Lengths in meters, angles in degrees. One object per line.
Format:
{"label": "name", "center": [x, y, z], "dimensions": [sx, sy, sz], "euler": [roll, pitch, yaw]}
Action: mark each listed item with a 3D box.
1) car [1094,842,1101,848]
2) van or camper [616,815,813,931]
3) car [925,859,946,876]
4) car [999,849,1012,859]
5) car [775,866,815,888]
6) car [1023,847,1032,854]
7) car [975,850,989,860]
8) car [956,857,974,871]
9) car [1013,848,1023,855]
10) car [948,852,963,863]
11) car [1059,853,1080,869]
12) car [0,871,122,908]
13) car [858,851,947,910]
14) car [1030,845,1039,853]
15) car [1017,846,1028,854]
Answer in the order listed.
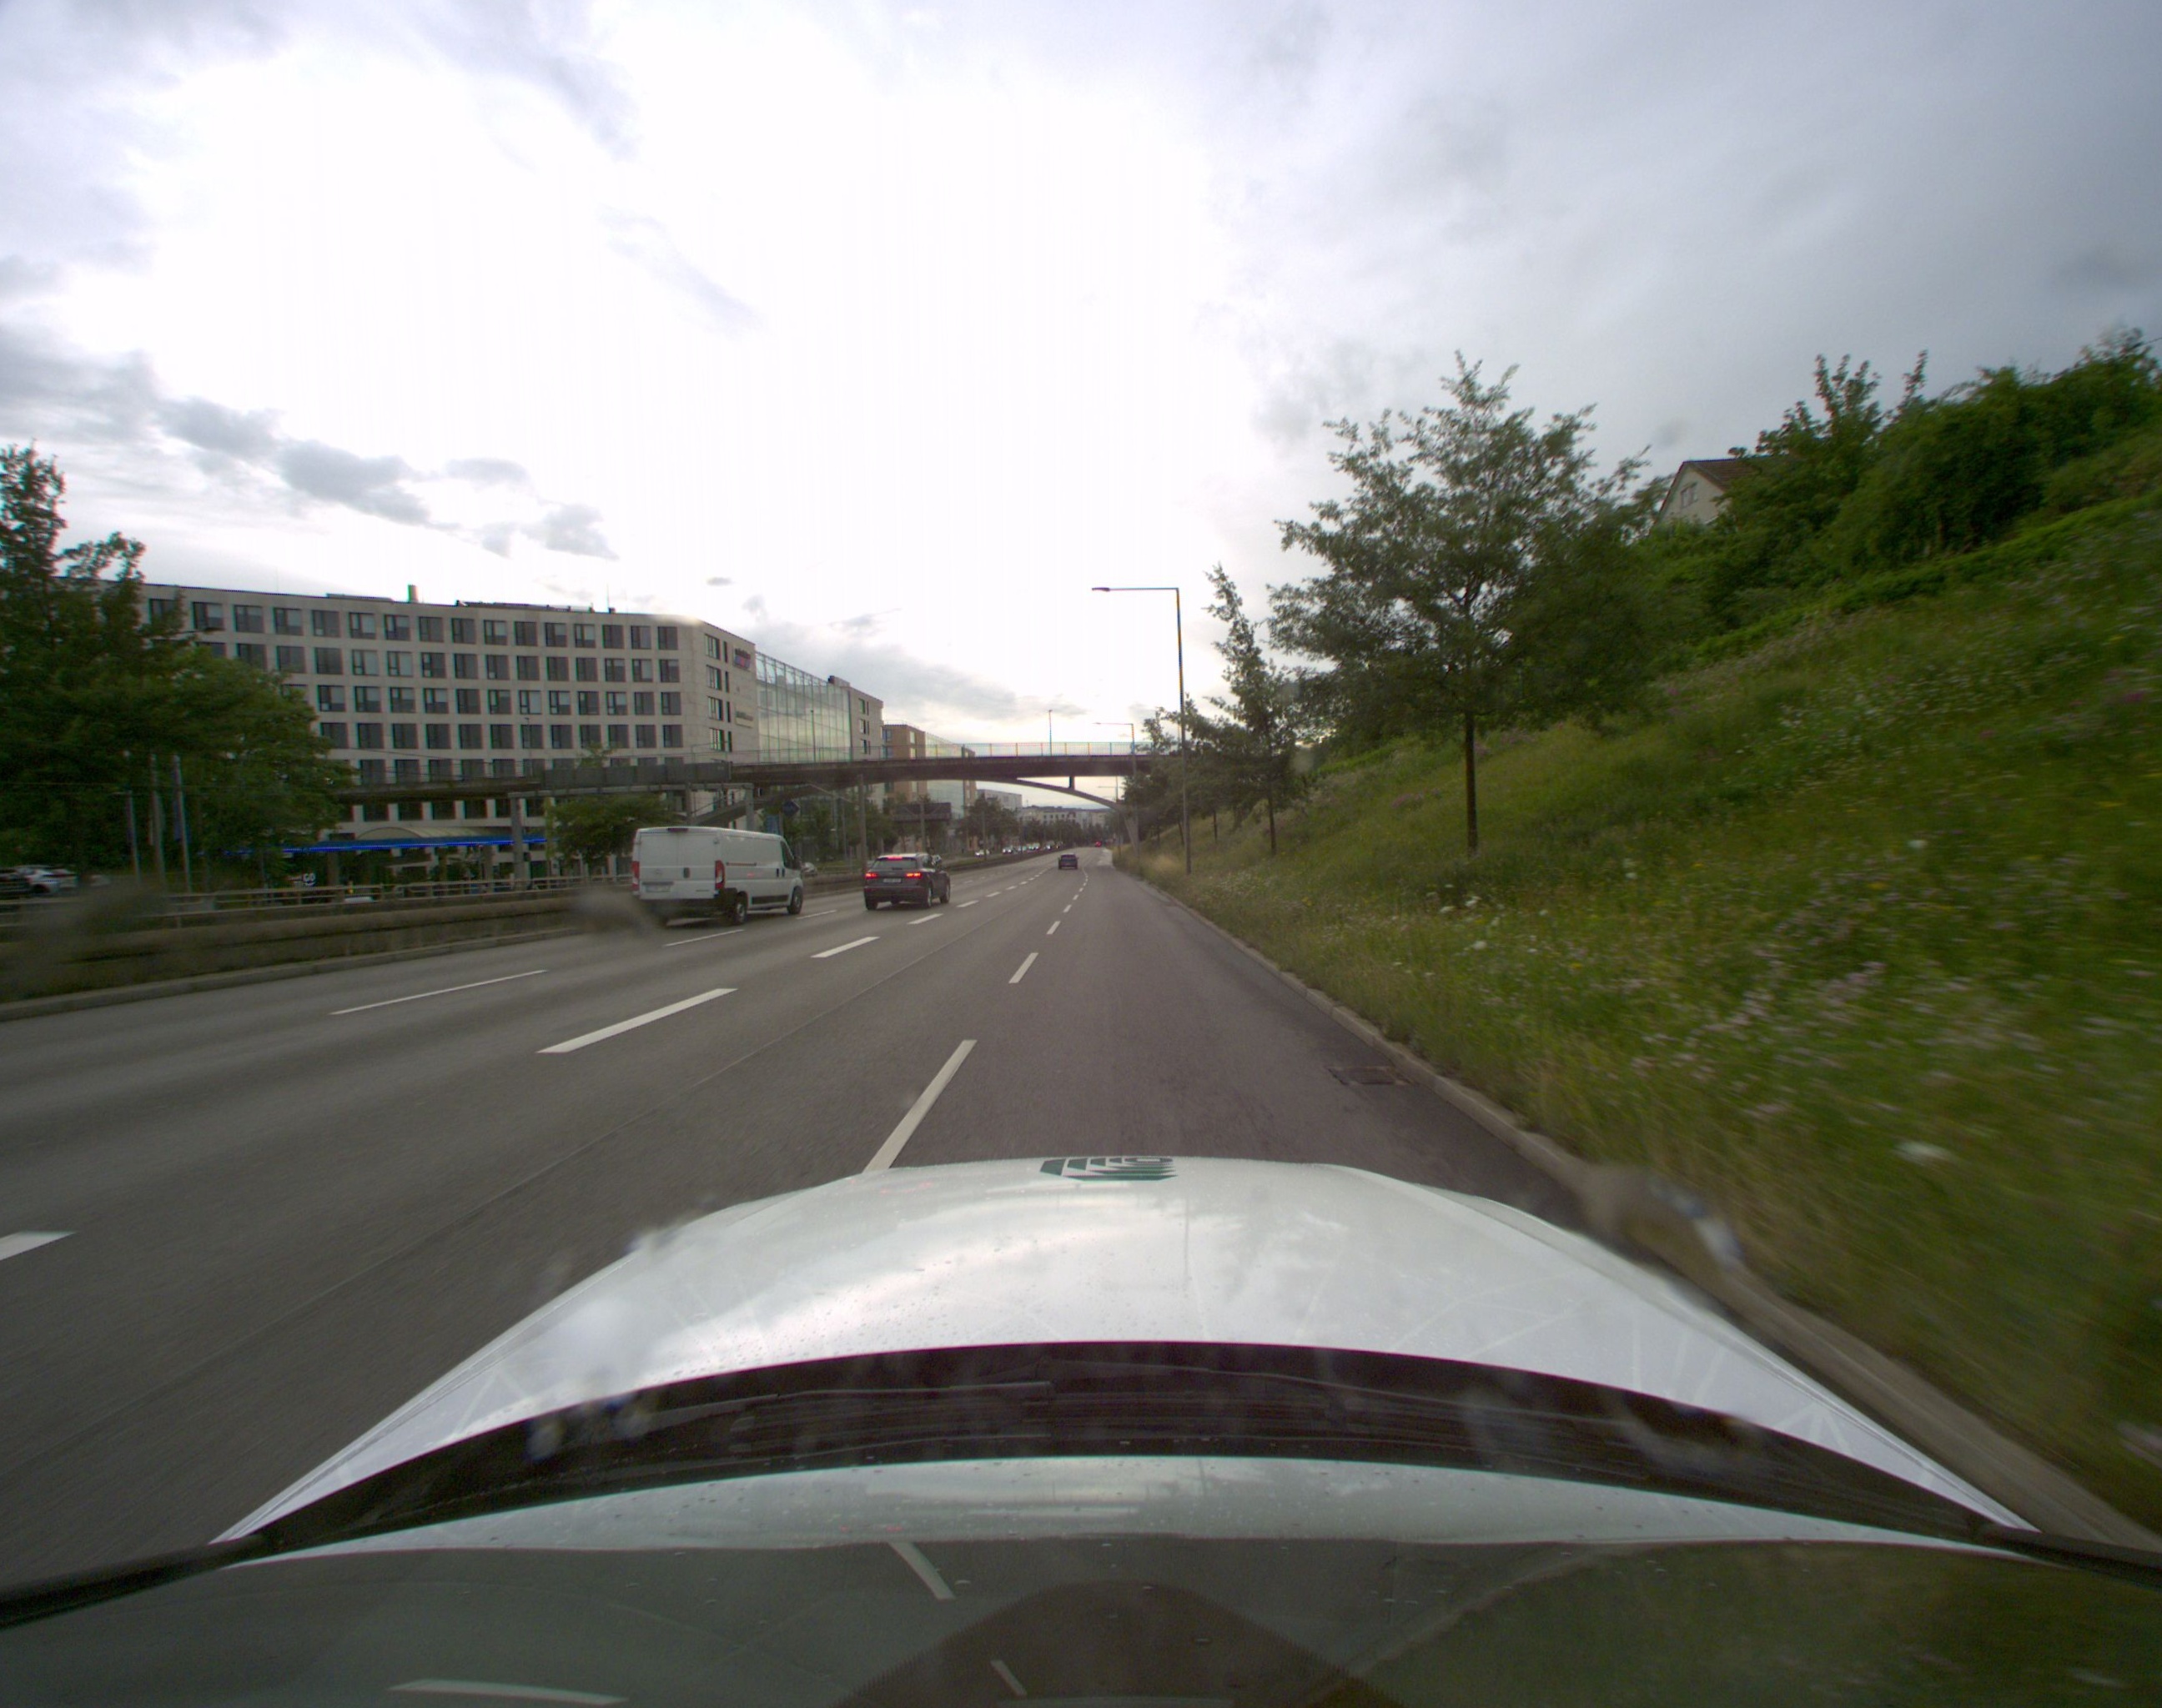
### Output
{"label": "car", "center": [5.263, -2.811, 260.078], "dimensions": [1.858, 1.749, 3.998], "euler": [0, 3, -2]}
{"label": "van or camper", "center": [-8.747, 0.407, 20.173], "dimensions": [2.195, 2.439, 5.532], "euler": [-1, 0, 1]}
{"label": "car", "center": [-18.895, 1.730, 105.707], "dimensions": [1.987, 2.013, 4.001], "euler": [0, 3, 0]}
{"label": "car", "center": [-15.639, 0.017, 168.237], "dimensions": [1.985, 2.013, 4.003], "euler": [-1, 0, 3]}
{"label": "car", "center": [-20.752, 1.665, 59.195], "dimensions": [1.512, 1.420, 3.479], "euler": [-2, 0, 1]}
{"label": "car", "center": [-14.786, -1.036, 223.371], "dimensions": [1.985, 1.735, 4.252], "euler": [0, 3, 3]}
{"label": "car", "center": [-19.436, 0.174, 160.458], "dimensions": [1.985, 1.735, 4.252], "euler": [0, 3, 3]}
{"label": "car", "center": [-16.176, 1.345, 113.955], "dimensions": [1.987, 1.705, 4.000], "euler": [0, 3, -1]}
{"label": "car", "center": [-15.943, -0.667, 206.990], "dimensions": [1.985, 1.735, 4.252], "euler": [0, 3, 3]}
{"label": "car", "center": [-24.317, 0.729, 158.160], "dimensions": [1.985, 2.013, 4.003], "euler": [-1, 0, 3]}
{"label": "car", "center": [-1.050, 0.632, 75.400], "dimensions": [1.742, 1.420, 3.480], "euler": [-2, 1, 1]}
{"label": "car", "center": [-40.982, 1.379, 32.251], "dimensions": [3.970, 1.354, 1.851], "euler": [0, 0, 3]}
{"label": "car", "center": [-5.382, 0.754, 25.169], "dimensions": [1.746, 1.617, 4.746], "euler": [-2, 0, -1]}
{"label": "car", "center": [-12.139, -1.336, 212.761], "dimensions": [1.985, 1.735, 4.252], "euler": [0, 3, 3]}
{"label": "car", "center": [-13.726, -0.907, 190.346], "dimensions": [1.985, 1.735, 4.252], "euler": [0, 3, 3]}
